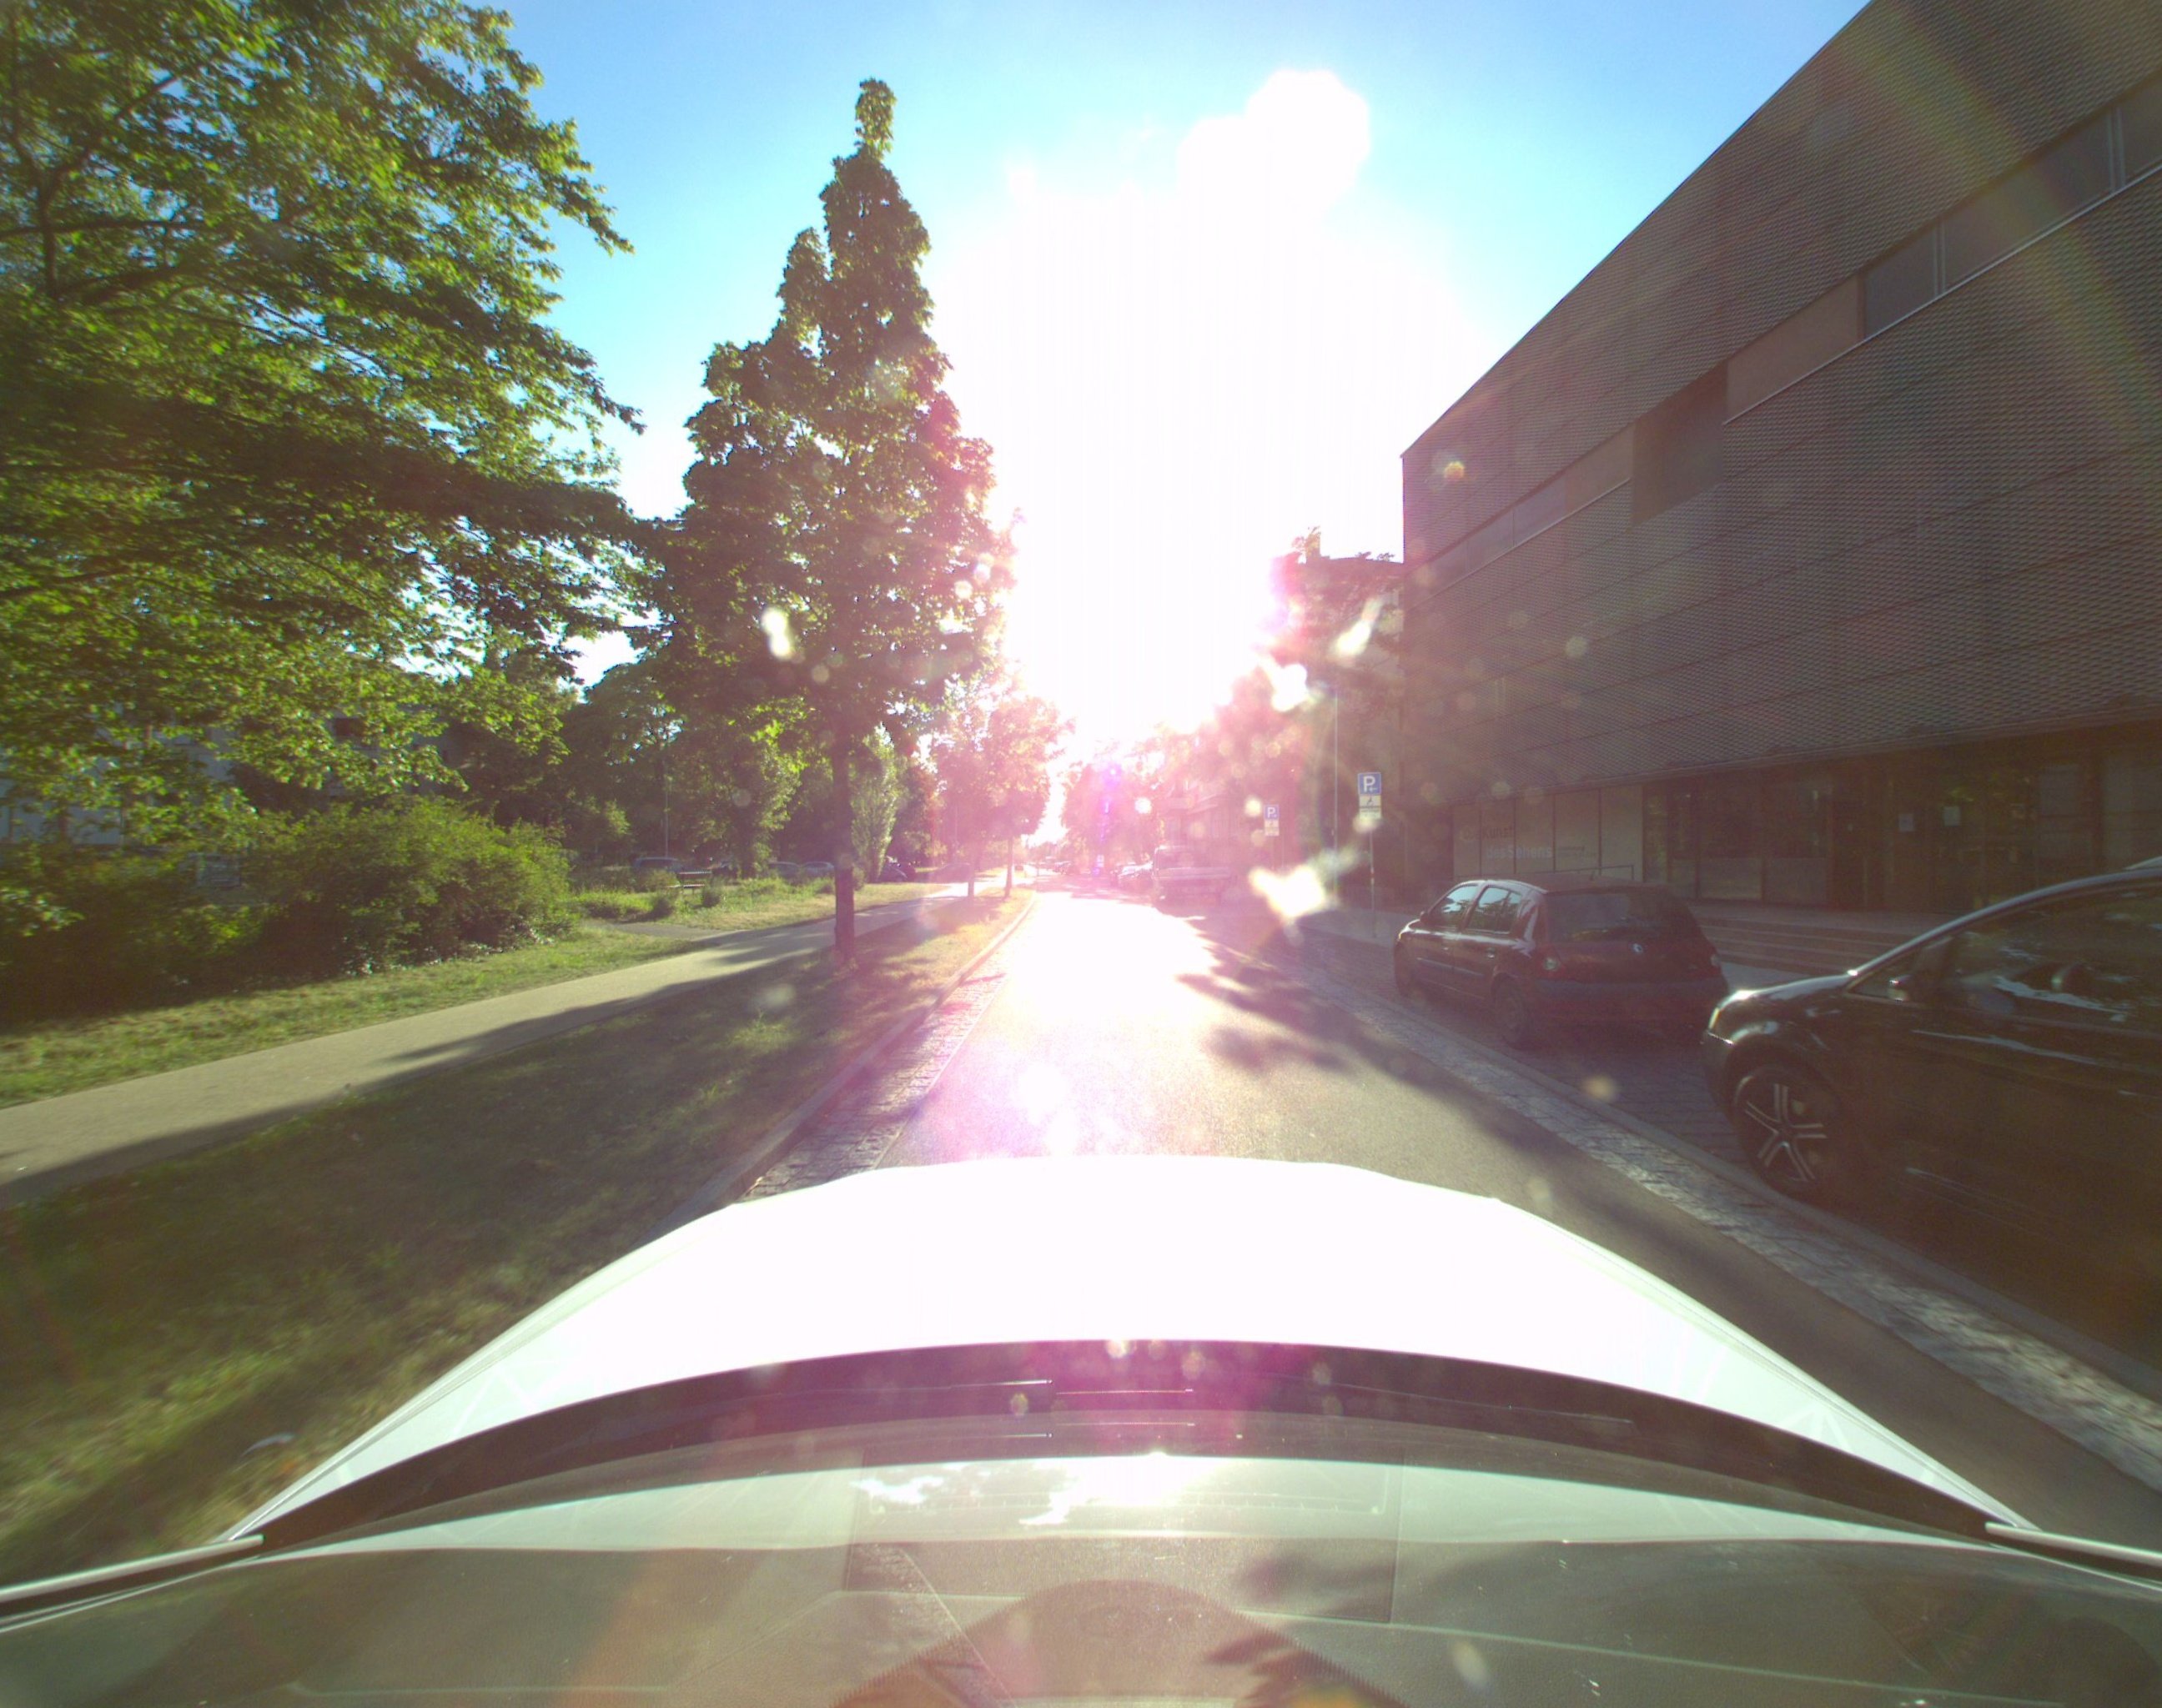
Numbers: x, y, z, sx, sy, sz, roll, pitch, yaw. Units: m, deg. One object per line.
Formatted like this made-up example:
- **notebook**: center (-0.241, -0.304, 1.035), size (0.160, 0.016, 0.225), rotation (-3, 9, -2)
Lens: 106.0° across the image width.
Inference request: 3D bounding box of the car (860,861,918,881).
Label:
- **car**: center (-14.277, 1.266, 60.524), size (3.933, 1.420, 1.756), rotation (2, -1, -26)

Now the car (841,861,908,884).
- **car**: center (-13.720, 1.210, 54.124), size (4.010, 1.420, 1.755), rotation (2, -1, -29)

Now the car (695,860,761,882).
- **car**: center (-23.977, 1.148, 55.390), size (4.008, 1.420, 1.756), rotation (1, -1, -27)

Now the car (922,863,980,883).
- **car**: center (-9.956, 1.469, 62.407), size (4.011, 1.420, 1.755), rotation (2, -1, -30)

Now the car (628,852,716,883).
- **car**: center (-24.434, 0.827, 48.855), size (4.549, 1.686, 1.758), rotation (2, -1, -23)

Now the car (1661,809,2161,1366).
- **car**: center (4.097, 0.694, 2.495), size (1.718, 1.669, 4.113), rotation (-1, -1, 0)

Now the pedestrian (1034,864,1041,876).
- **pedestrian**: center (-4.989, 1.850, 93.570), size (0.686, 1.434, 1.024), rotation (1, -1, 1)

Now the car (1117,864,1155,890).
- **car**: center (3.196, 1.340, 47.975), size (1.687, 1.440, 4.098), rotation (0, -1, -4)

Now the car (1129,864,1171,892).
- **car**: center (3.561, 1.231, 42.534), size (1.687, 1.440, 3.545), rotation (0, -1, -4)

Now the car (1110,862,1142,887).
- **car**: center (2.941, 1.357, 53.869), size (1.687, 1.565, 4.098), rotation (0, -1, -4)

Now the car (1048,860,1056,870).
- **car**: center (-6.116, 2.337, 172.610), size (1.789, 1.999, 3.997), rotation (1, -1, -2)

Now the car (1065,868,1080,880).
- **car**: center (-1.084, 2.627, 106.339), size (1.787, 1.510, 4.000), rotation (1, -1, 1)

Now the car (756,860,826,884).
- **car**: center (-18.440, 1.142, 51.836), size (4.008, 1.420, 1.756), rotation (1, -1, -27)

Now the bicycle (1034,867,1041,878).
- **bicycle**: center (-4.987, 2.086, 93.596), size (0.686, 1.202, 2.343), rotation (1, -1, 1)

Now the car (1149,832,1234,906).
- **car**: center (4.098, 0.590, 31.388), size (2.205, 2.530, 6.142), rotation (-1, -1, -2)

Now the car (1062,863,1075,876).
- **car**: center (-1.879, 2.286, 120.492), size (1.789, 1.725, 3.997), rotation (1, -1, -2)

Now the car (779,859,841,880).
- **car**: center (-19.299, 1.117, 58.008), size (4.008, 1.420, 1.756), rotation (2, -1, -27)

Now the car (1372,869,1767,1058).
- **car**: center (4.409, 0.870, 8.158), size (1.718, 1.422, 3.907), rotation (0, -1, 2)

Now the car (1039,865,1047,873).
- **car**: center (-10.009, 3.923, 214.090), size (1.989, 1.970, 3.996), rotation (2, -1, -3)
